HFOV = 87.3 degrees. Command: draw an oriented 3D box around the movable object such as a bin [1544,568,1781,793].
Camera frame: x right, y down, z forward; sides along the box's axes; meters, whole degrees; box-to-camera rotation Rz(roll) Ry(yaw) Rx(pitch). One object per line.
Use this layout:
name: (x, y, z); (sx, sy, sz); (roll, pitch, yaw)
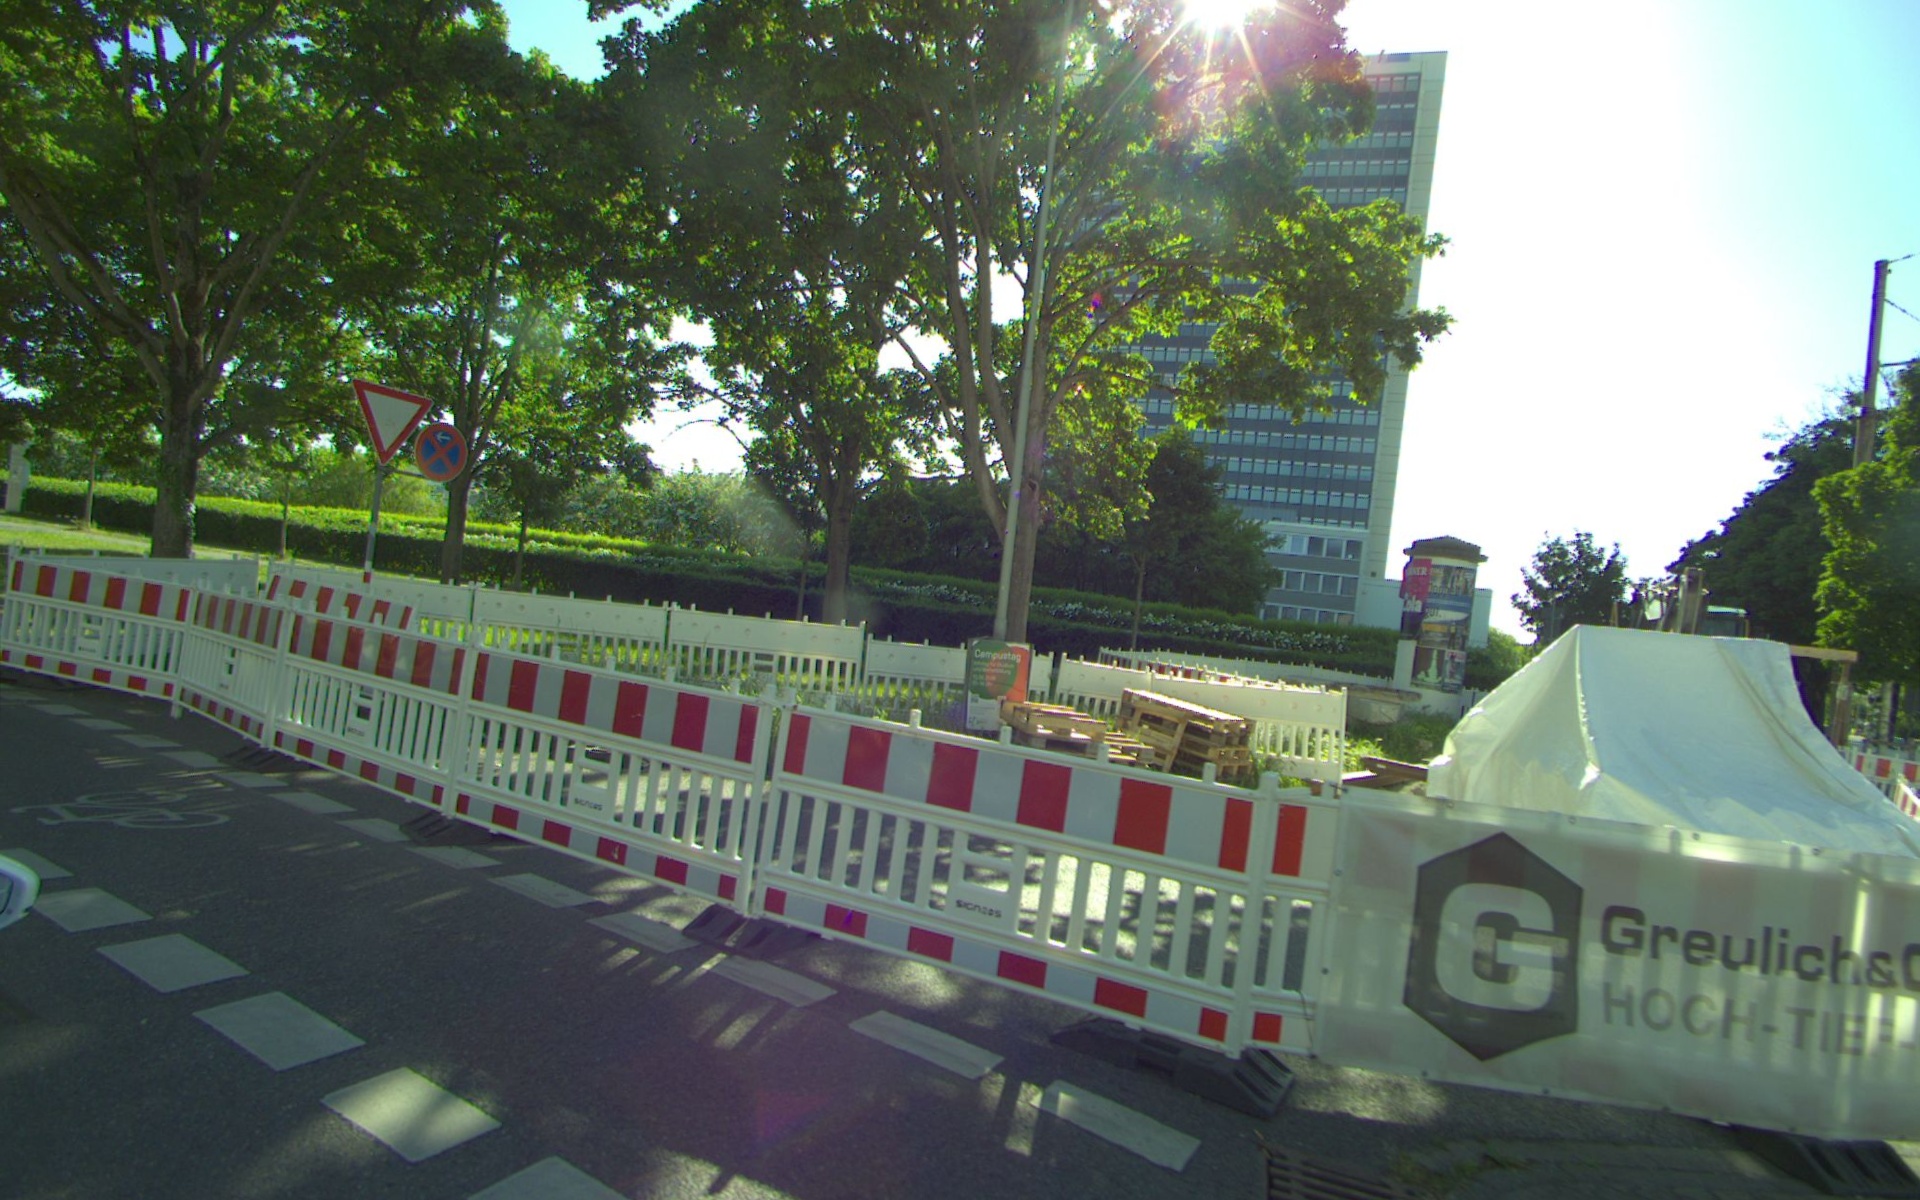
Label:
movable object such as a bin: (12.835, 1.474, 18.851); (2.787, 3.403, 4.706); (6, -1, 28)
